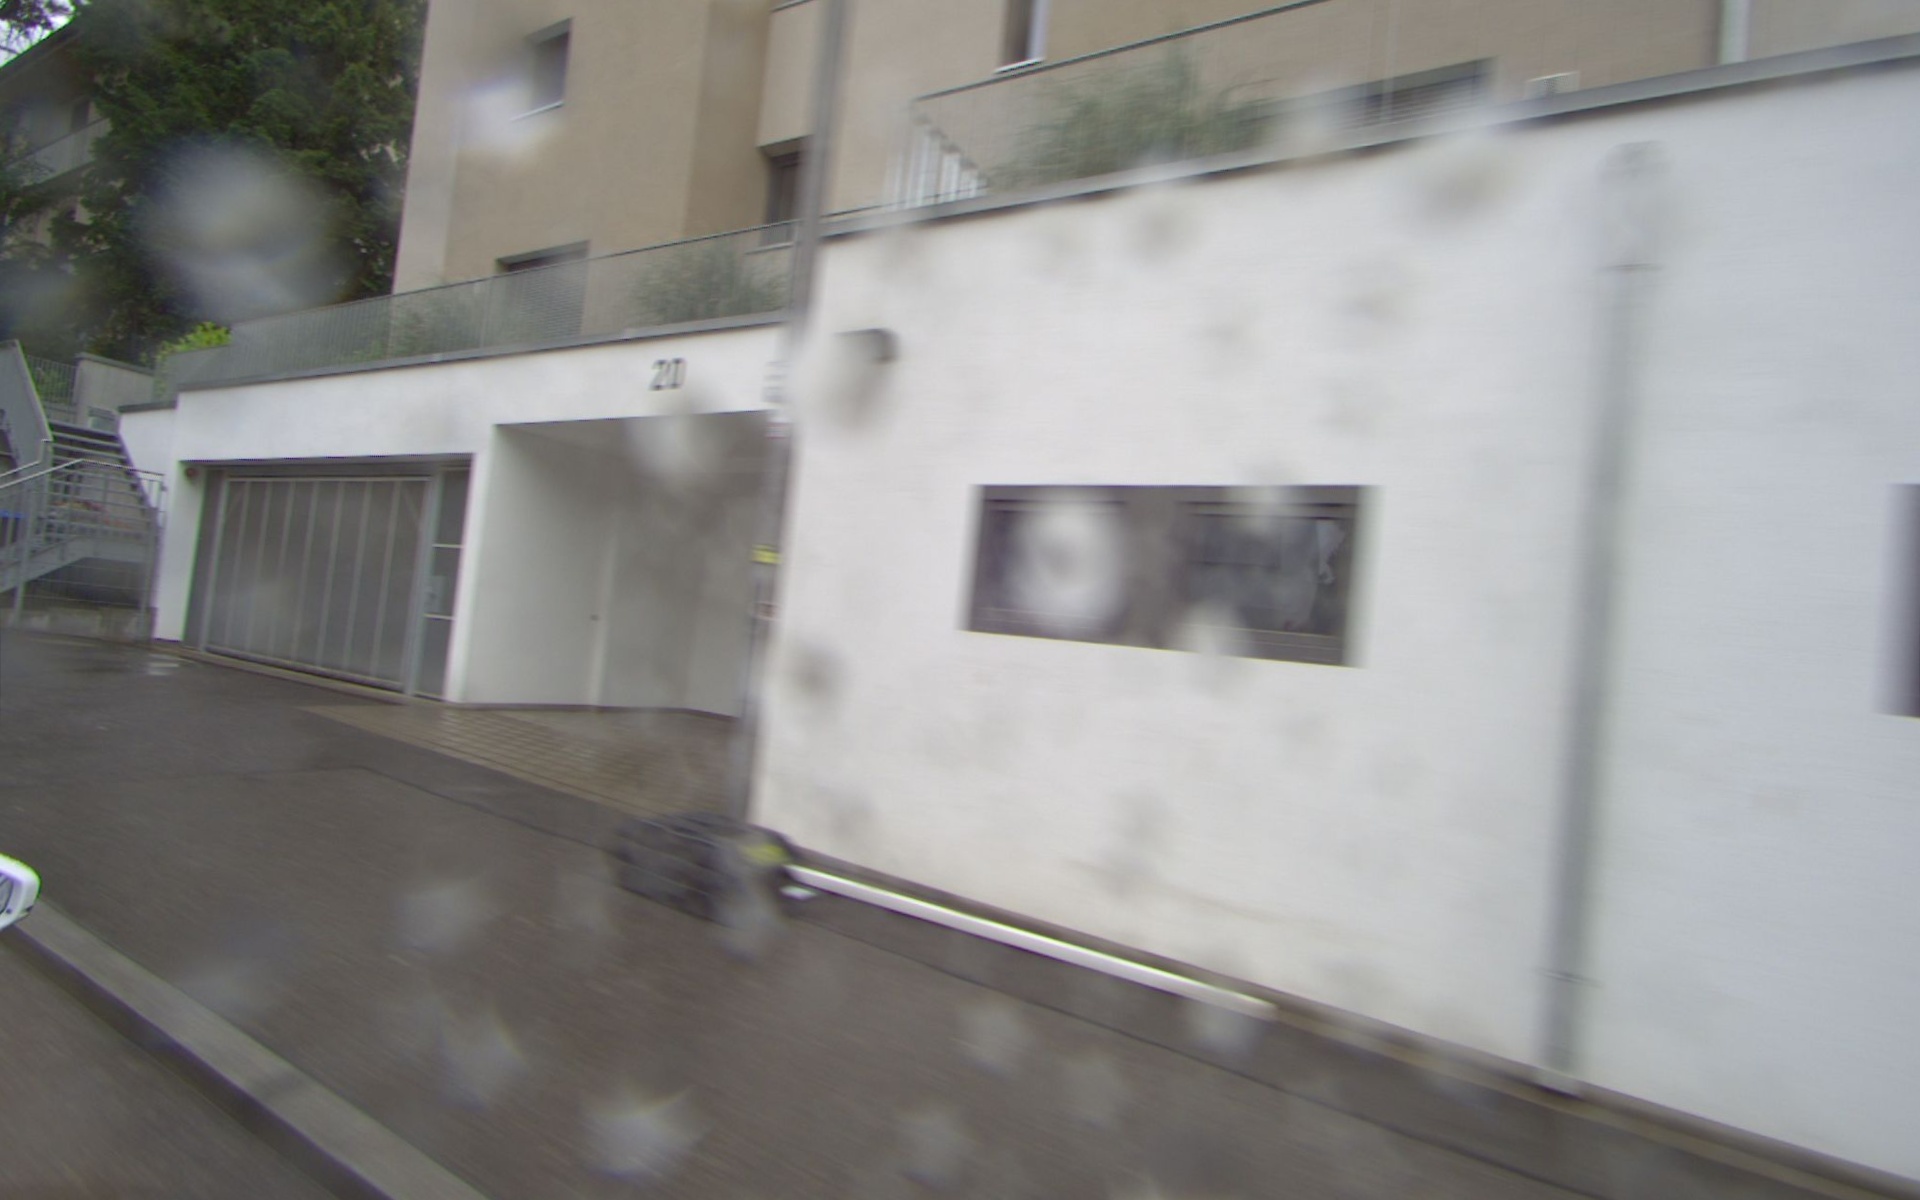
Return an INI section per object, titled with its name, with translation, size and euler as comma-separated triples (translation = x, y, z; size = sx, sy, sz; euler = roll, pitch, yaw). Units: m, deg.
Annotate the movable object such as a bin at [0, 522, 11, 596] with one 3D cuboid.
[movable object such as a bin]
translation = -12.982, -0.606, 12.925
size = 0.733, 0.952, 0.877
euler = 8, -1, 27
